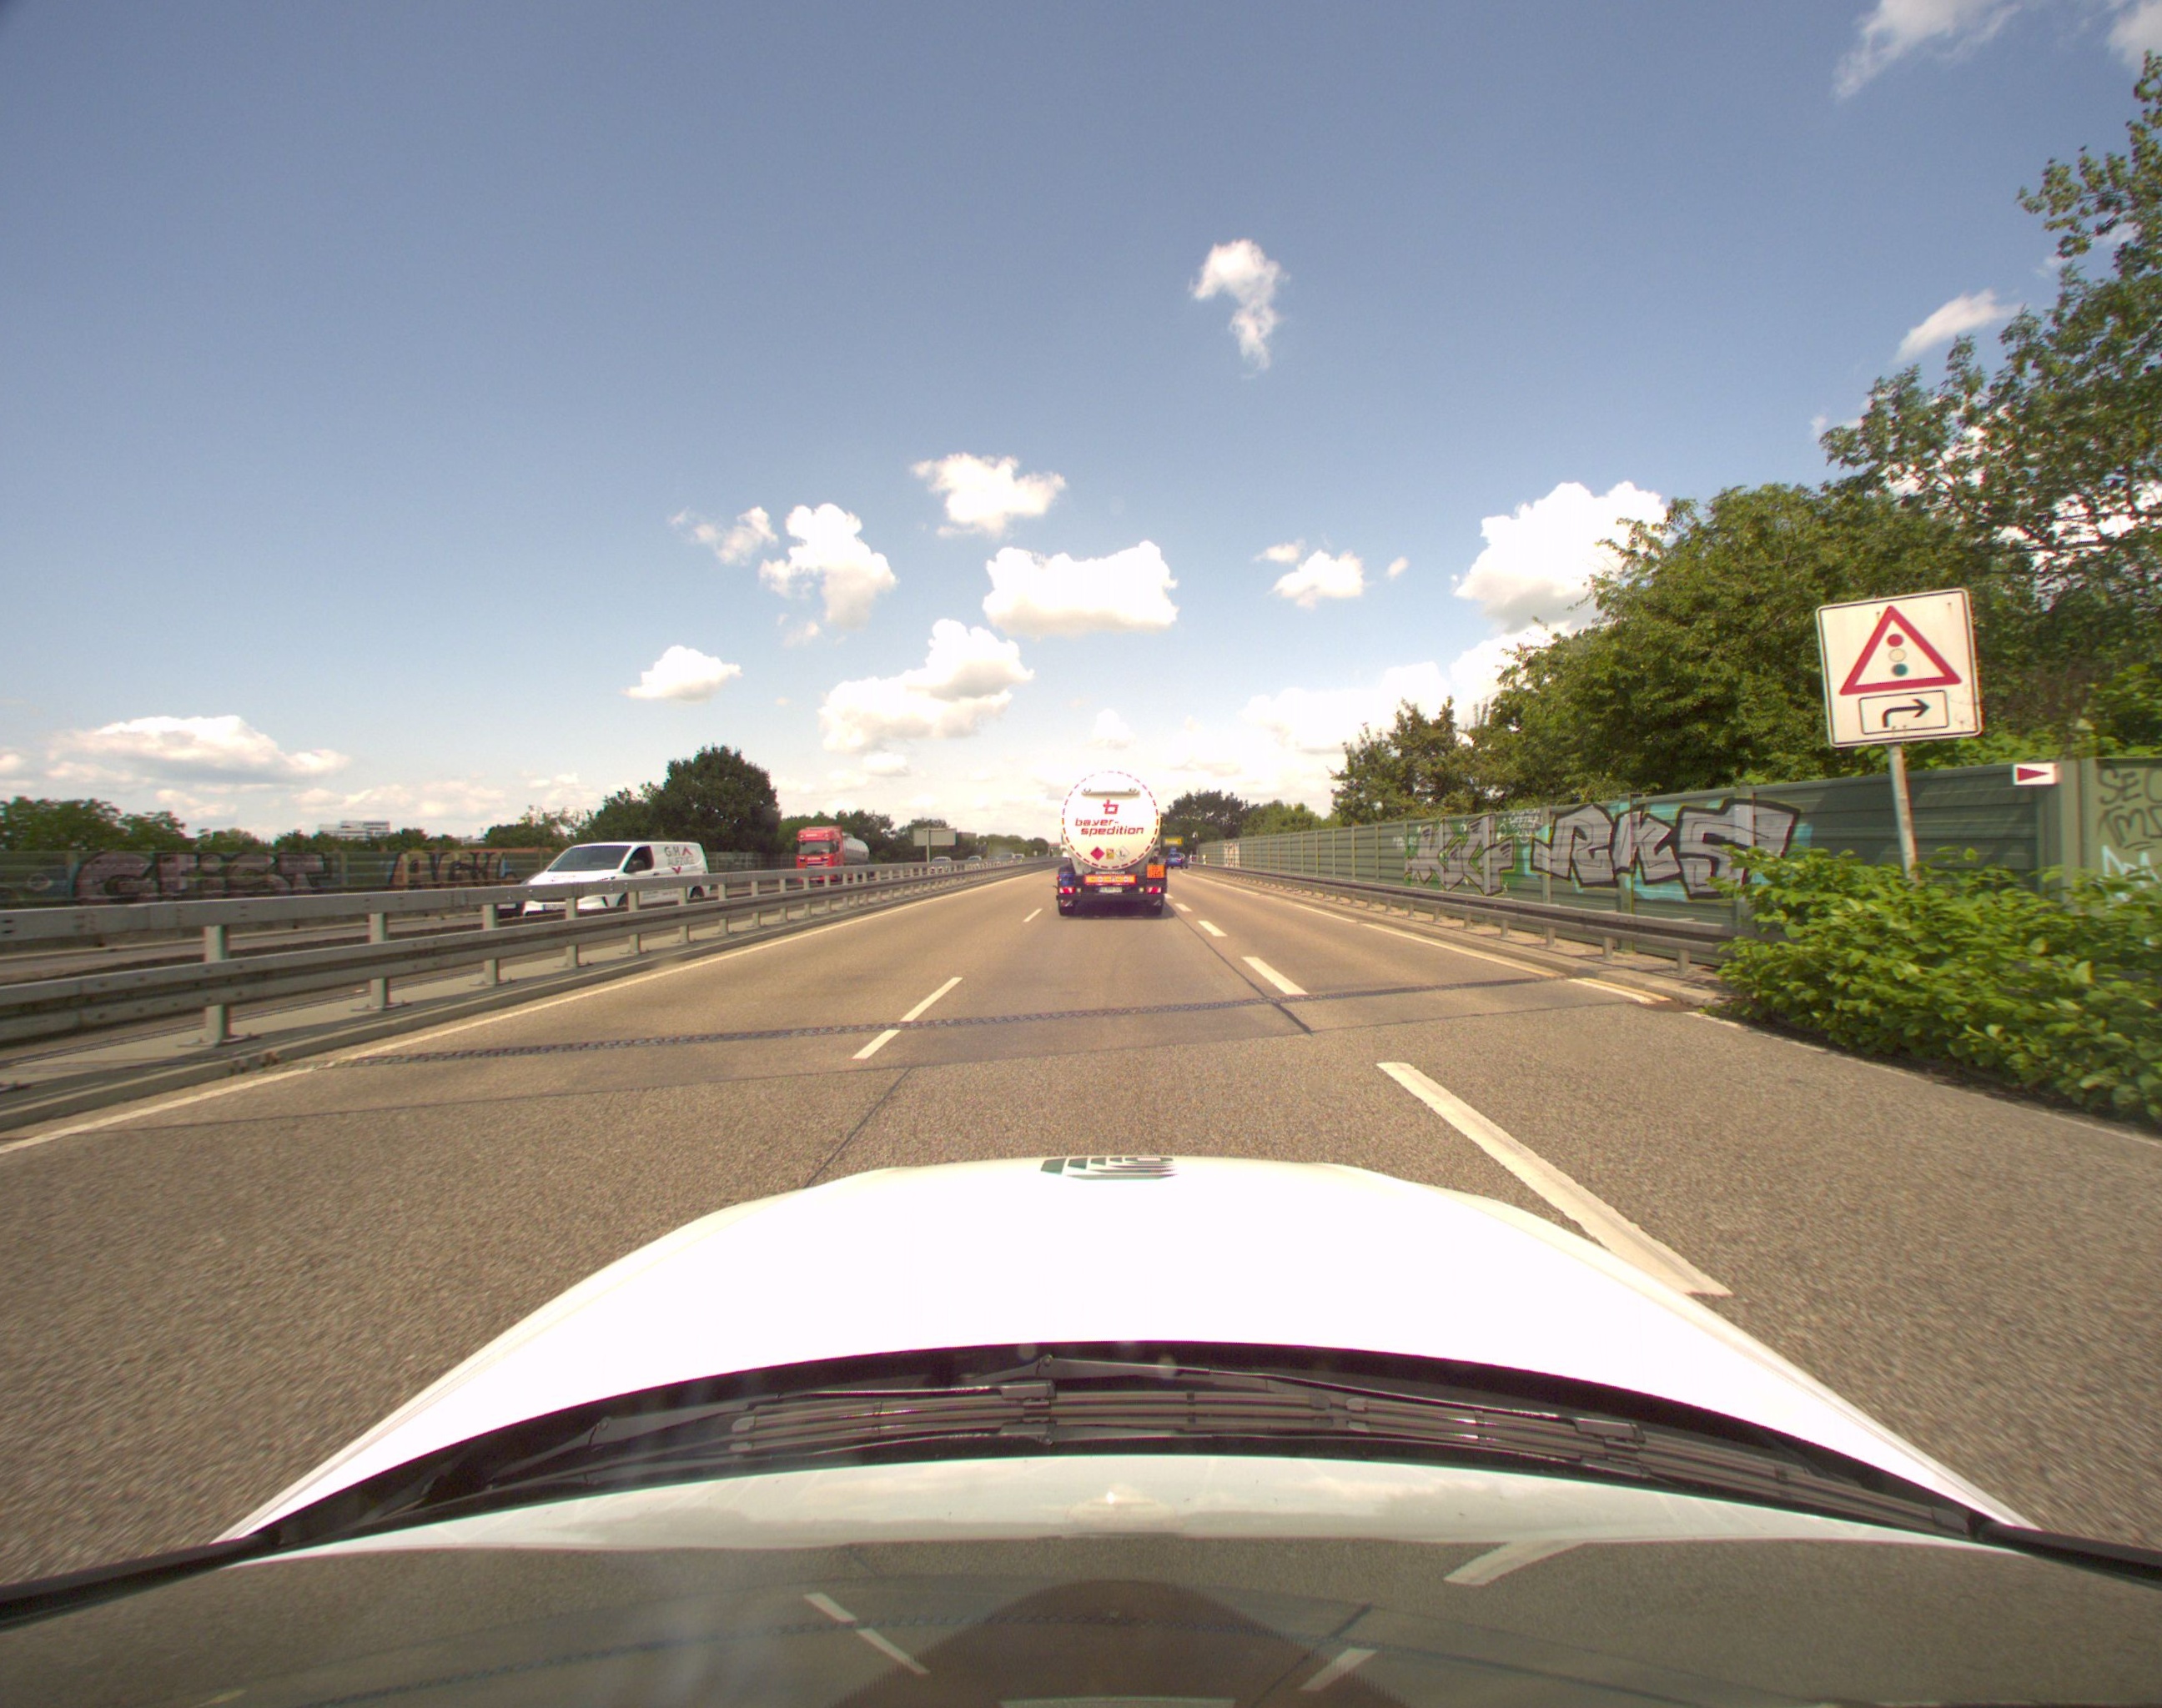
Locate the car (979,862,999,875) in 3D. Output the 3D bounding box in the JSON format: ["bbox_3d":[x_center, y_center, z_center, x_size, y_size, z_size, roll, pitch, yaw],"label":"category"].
[{"bbox_3d":[-11.874,1.804,105.206,1.917,1.574,4.245,-2,0,1],"label":"car"}]

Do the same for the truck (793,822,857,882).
[{"bbox_3d":[-17.156,-0.122,54.976,2.643,3.782,6.223,1,-1,-4],"label":"truck"}]

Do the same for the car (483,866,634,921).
[{"bbox_3d":[-15.399,1.099,24.316,1.683,1.431,4.401,1,0,-1],"label":"car"}]

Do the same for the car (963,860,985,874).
[{"bbox_3d":[-12.419,1.470,94.580,1.917,1.574,3.887,1,0,1],"label":"car"}]

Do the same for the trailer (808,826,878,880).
[{"bbox_3d":[-17.611,-0.027,61.075,2.679,3.670,11.011,1,0,-4],"label":"trailer"}]

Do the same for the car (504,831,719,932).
[{"bbox_3d":[-10.970,0.593,19.622,2.073,1.989,5.227,-3,0,-1],"label":"car"}]

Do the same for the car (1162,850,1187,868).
[{"bbox_3d":[9.542,0.509,82.812,1.979,1.706,4.016,0,0,16],"label":"car"}]

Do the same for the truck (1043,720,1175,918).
[{"bbox_3d":[0.748,-0.754,22.124,2.884,4.369,8.032,1,0,2],"label":"truck"}]

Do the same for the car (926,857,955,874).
[{"bbox_3d":[-12.689,1.009,73.893,1.776,1.509,3.961,1,0,2],"label":"car"}]
